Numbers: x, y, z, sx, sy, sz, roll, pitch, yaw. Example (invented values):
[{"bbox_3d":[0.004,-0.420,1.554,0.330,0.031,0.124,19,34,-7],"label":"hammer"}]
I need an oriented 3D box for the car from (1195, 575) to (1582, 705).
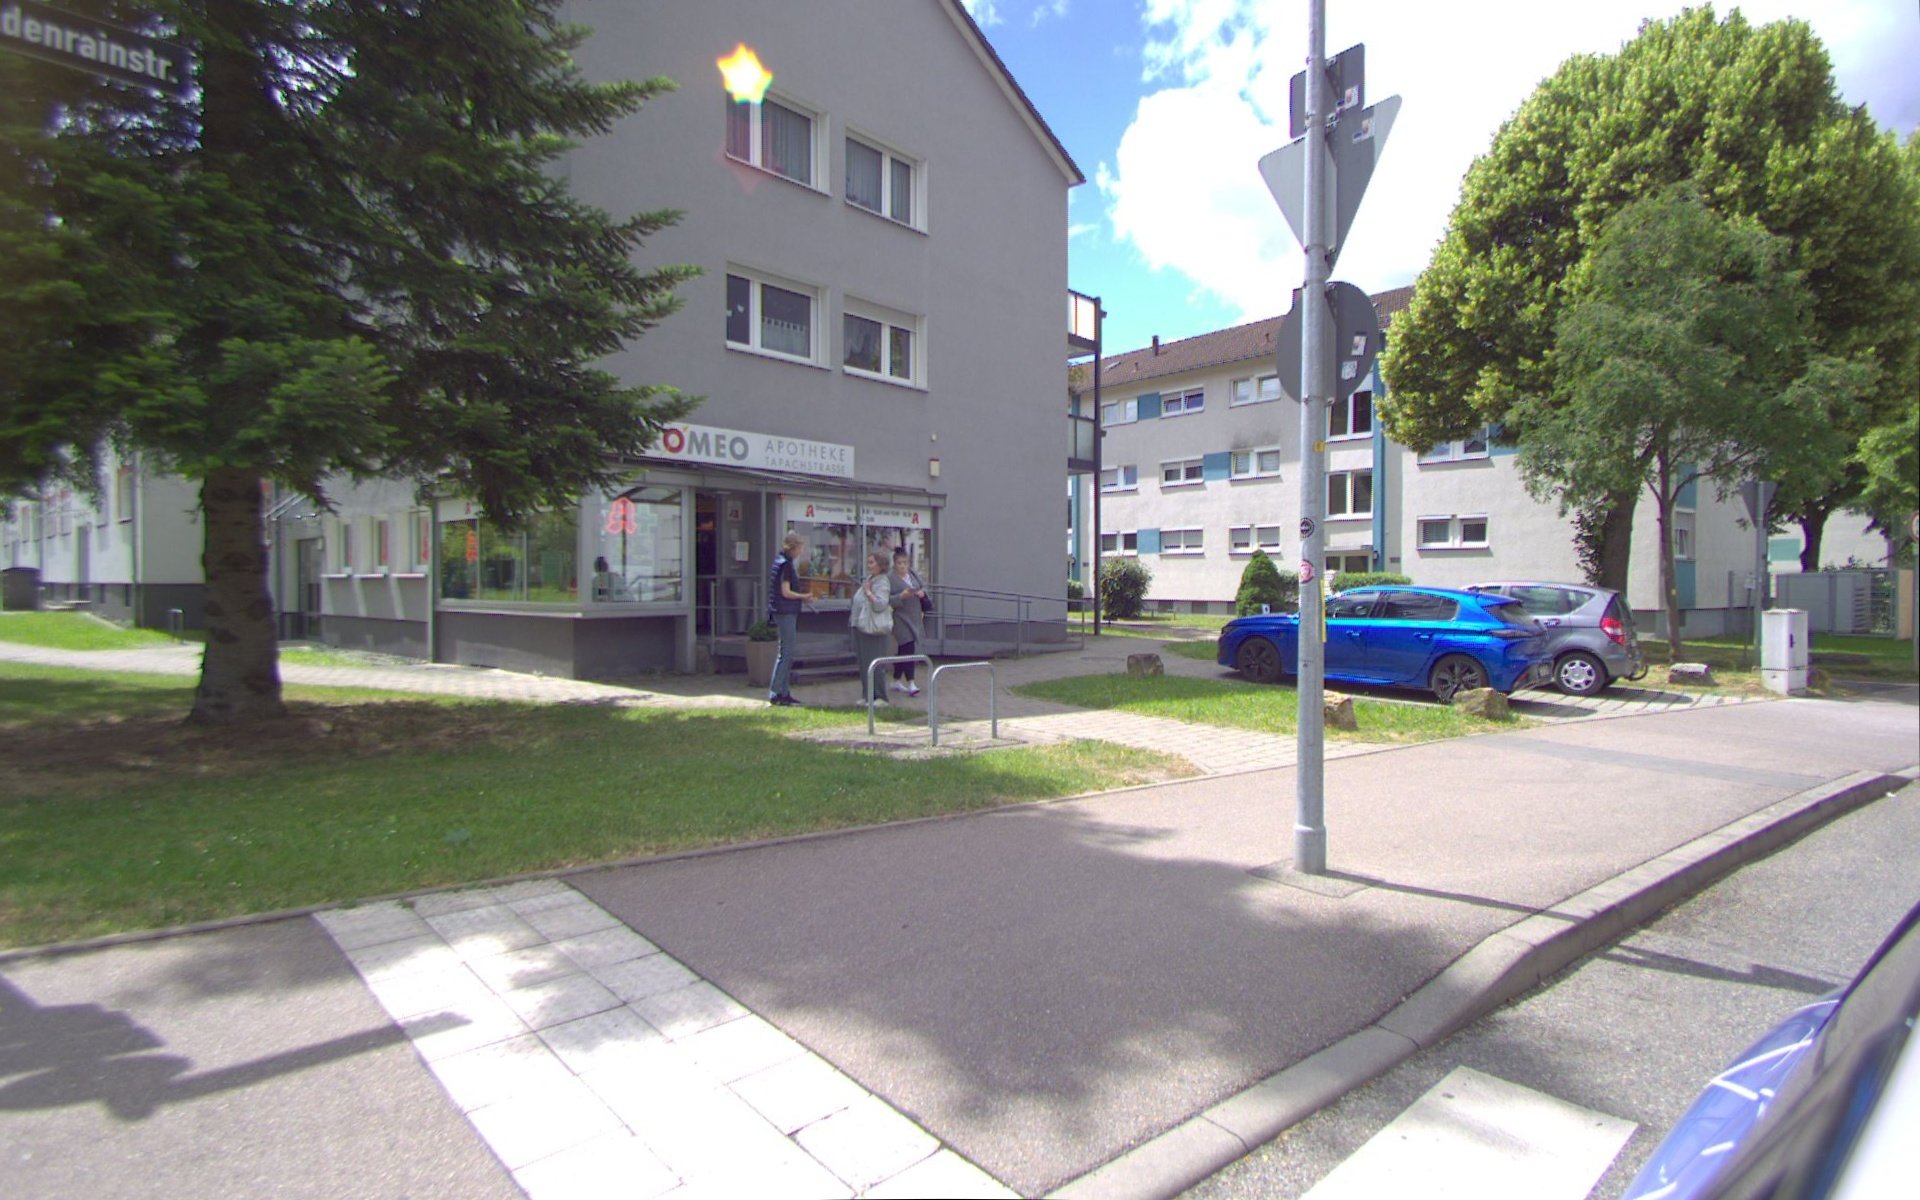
[{"bbox_3d":[5.737,0.413,13.903,4.482,1.258,1.970,5,4,42],"label":"car"}]

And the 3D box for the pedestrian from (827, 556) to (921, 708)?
[{"bbox_3d":[-0.920,0.308,10.805,0.680,1.548,0.742,-1,2,-44],"label":"pedestrian"}]

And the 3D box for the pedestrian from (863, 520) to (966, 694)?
[{"bbox_3d":[-0.540,0.060,12.189,0.837,1.980,0.931,1,1,35],"label":"pedestrian"}]

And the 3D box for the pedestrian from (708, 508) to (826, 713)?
[{"bbox_3d":[-2.025,0.085,10.665,0.653,2.038,1.031,2,2,42],"label":"pedestrian"}]

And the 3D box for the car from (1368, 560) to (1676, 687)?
[{"bbox_3d":[8.579,0.262,15.610,3.730,1.575,2.000,5,4,44],"label":"car"}]
